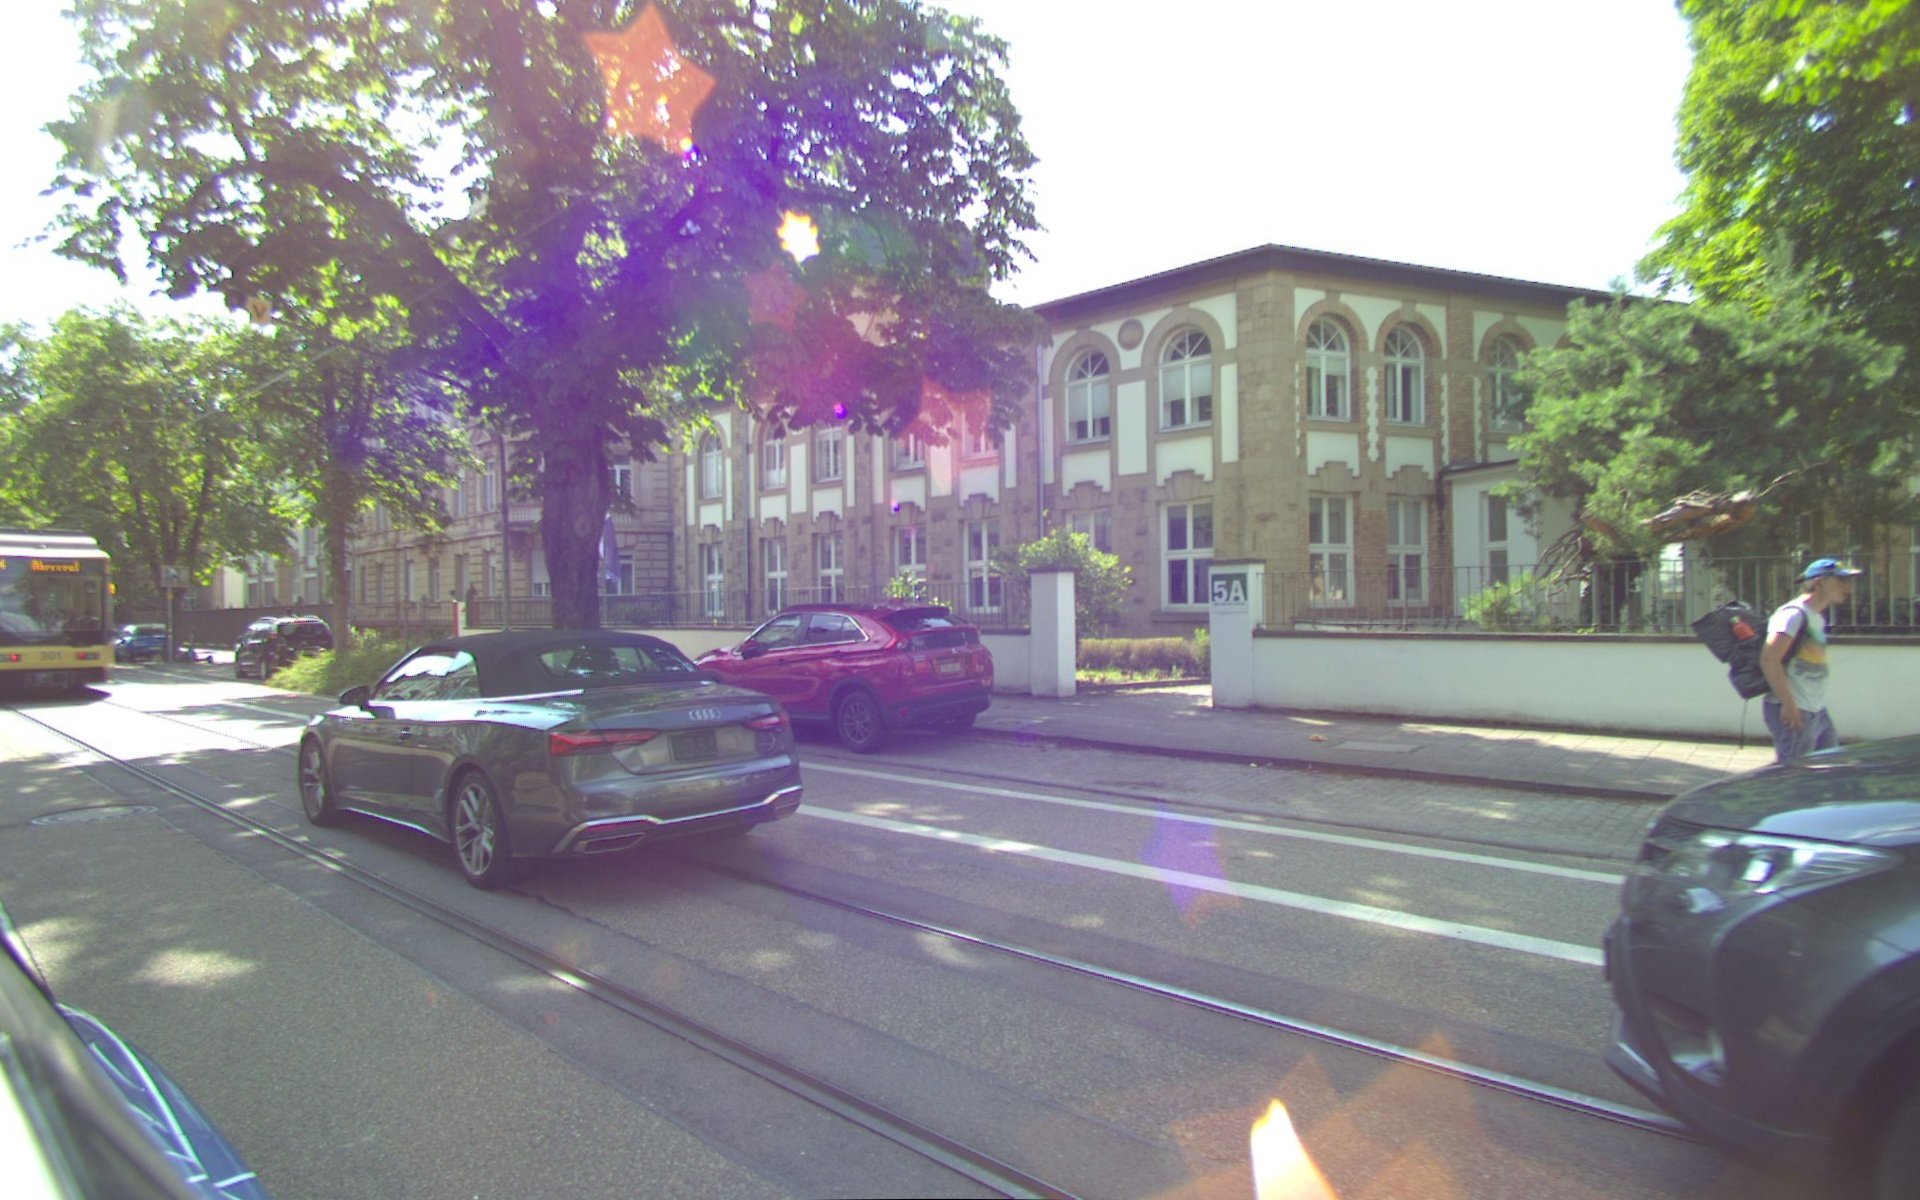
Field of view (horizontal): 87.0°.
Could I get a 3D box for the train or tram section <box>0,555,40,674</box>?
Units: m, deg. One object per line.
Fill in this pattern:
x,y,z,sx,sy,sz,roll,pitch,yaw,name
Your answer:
-32.217,0.480,32.527,11.469,3.415,2.624,-1,-3,42,train or tram section

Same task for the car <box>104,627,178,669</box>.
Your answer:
-32.747,1.893,40.439,3.806,1.496,1.637,-1,1,41,car

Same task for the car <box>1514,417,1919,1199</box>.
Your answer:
3.494,0.484,1.480,4.389,1.740,1.806,-2,-1,42,car

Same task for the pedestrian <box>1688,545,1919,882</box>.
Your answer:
4.899,0.594,5.864,0.740,1.780,0.793,-2,0,-20,pedestrian

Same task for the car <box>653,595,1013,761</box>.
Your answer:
-1.741,0.835,12.662,4.718,1.678,1.732,-1,1,41,car

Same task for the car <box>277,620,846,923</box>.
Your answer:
-2.924,0.859,6.858,4.424,1.399,1.780,-2,-2,41,car

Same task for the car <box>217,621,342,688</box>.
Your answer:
-18.998,1.447,28.196,4.329,1.653,1.788,-1,1,41,car

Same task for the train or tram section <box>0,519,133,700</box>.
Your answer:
-22.744,0.281,24.040,14.103,3.381,2.624,-1,-1,42,train or tram section
